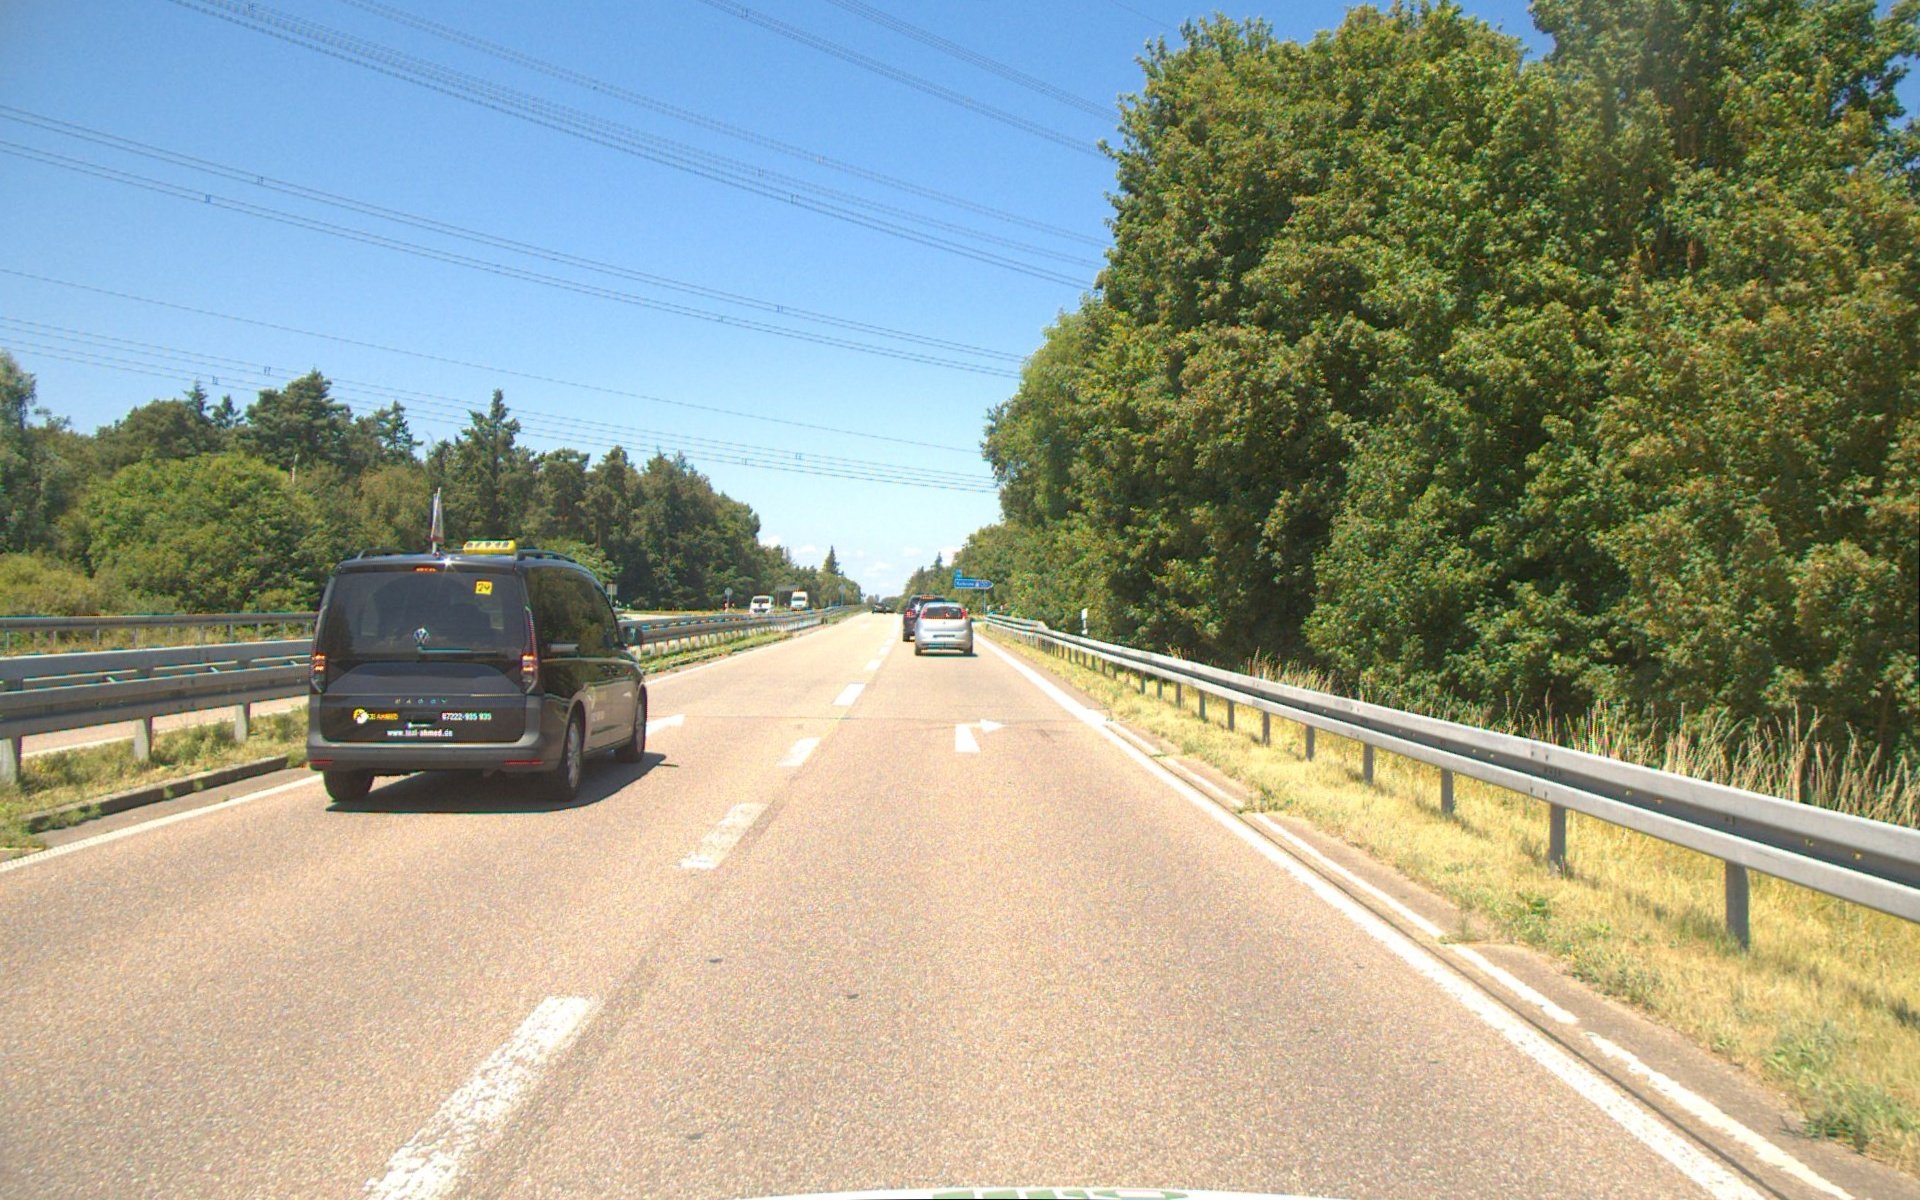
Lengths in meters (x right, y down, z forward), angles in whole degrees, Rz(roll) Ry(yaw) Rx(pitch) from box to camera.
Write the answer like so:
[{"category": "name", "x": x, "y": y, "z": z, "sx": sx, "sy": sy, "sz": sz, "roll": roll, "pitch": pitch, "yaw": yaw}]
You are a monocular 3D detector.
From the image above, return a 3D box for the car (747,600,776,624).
[{"category": "car", "x": -17.537, "y": 1.070, "z": 146.228, "sx": 1.852, "sy": 2.027, "sz": 5.532, "roll": 0, "pitch": 0, "yaw": 0}]

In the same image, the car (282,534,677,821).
[{"category": "car", "x": -3.687, "y": 0.537, "z": 13.865, "sx": 1.817, "sy": 1.920, "sz": 5.571, "roll": 0, "pitch": 0, "yaw": -2}]

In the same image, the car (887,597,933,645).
[{"category": "car", "x": -1.936, "y": 0.794, "z": 63.601, "sx": 1.608, "sy": 1.682, "sz": 3.571, "roll": 3, "pitch": 0, "yaw": -3}]

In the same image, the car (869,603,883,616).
[{"category": "car", "x": -10.737, "y": 1.212, "z": 212.036, "sx": 1.678, "sy": 1.497, "sz": 3.572, "roll": 3, "pitch": 0, "yaw": -2}]

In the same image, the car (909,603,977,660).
[{"category": "car", "x": -0.516, "y": 0.880, "z": 47.435, "sx": 1.608, "sy": 1.493, "sz": 3.415, "roll": 3, "pitch": 0, "yaw": -5}]
